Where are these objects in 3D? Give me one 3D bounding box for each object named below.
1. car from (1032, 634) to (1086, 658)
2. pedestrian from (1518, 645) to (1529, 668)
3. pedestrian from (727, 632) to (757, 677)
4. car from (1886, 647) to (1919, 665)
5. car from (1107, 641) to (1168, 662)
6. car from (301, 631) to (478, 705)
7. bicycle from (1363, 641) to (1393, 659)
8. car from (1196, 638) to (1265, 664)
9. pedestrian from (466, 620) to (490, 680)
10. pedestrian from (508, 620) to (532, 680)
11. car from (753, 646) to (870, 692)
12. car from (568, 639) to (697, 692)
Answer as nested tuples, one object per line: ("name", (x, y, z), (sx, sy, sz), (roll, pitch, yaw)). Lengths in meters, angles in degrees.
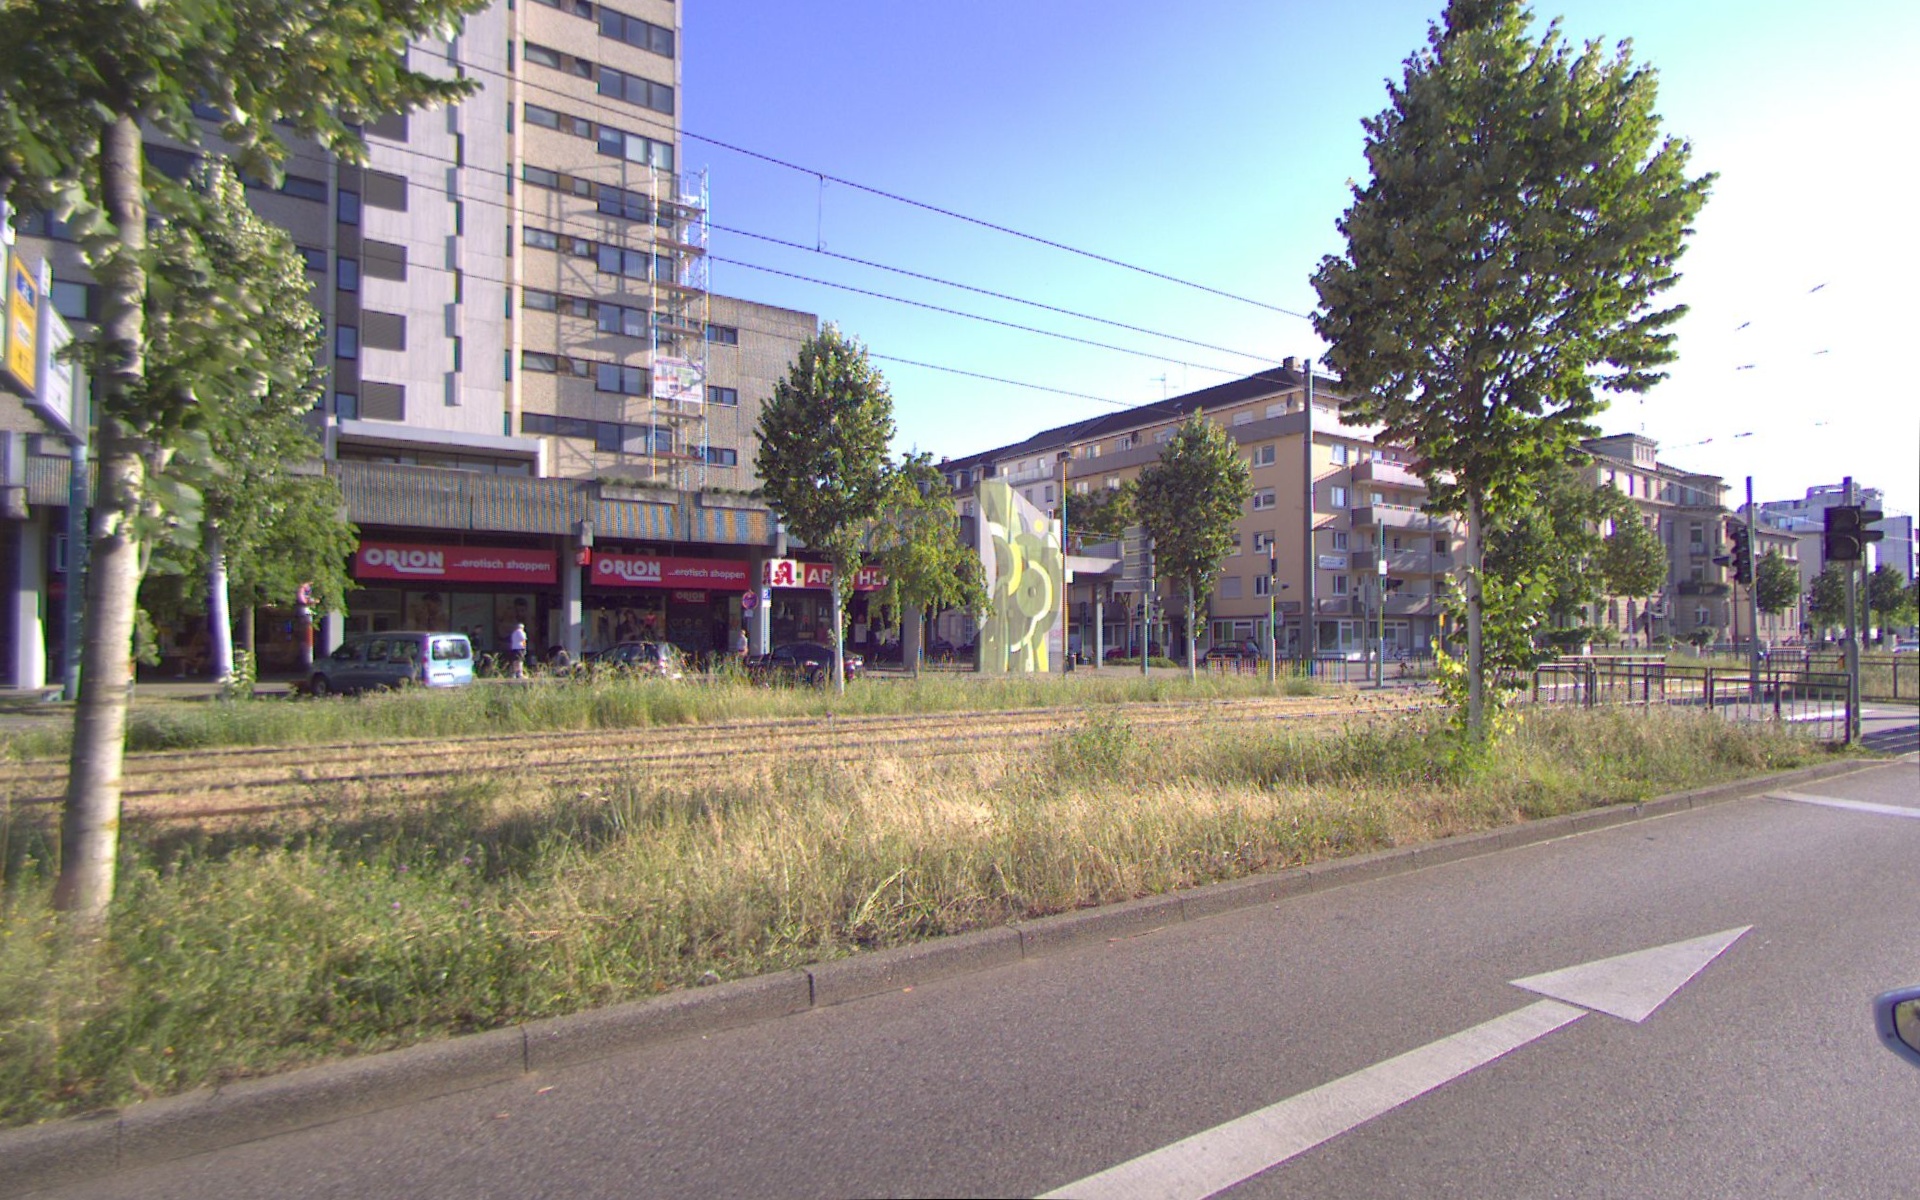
("car", (7.467, 3.471, 75.970), (1.979, 1.766, 3.963), (1, -2, -34))
("pedestrian", (39.032, 3.935, 69.631), (0.444, 1.576, 0.515), (1, -2, -36))
("pedestrian", (-8.205, 2.040, 37.742), (0.874, 1.661, 0.769), (1, -2, -35))
("car", (79.322, 4.674, 84.080), (4.617, 1.482, 1.764), (2, -2, -36))
("car", (12.181, 3.511, 69.057), (1.979, 1.321, 3.963), (1, -2, -34))
("car", (-15.169, 1.760, 26.743), (4.112, 1.713, 1.622), (1, -1, 16))
("bicycle", (27.859, 3.346, 66.914), (2.560, 1.152, 0.527), (1, -2, -35))
("car", (16.704, 3.126, 62.172), (1.828, 1.516, 3.962), (1, -2, -34))
("pedestrian", (-16.633, 1.733, 34.642), (0.648, 2.040, 0.544), (1, -2, -35))
("pedestrian", (-15.055, 1.710, 34.353), (0.648, 2.040, 0.544), (1, -2, -35))
("car", (-4.833, 2.238, 32.848), (3.396, 1.291, 1.622), (1, -1, 12))
("car", (-10.069, 2.000, 31.001), (3.396, 1.421, 1.622), (1, -1, 12))
